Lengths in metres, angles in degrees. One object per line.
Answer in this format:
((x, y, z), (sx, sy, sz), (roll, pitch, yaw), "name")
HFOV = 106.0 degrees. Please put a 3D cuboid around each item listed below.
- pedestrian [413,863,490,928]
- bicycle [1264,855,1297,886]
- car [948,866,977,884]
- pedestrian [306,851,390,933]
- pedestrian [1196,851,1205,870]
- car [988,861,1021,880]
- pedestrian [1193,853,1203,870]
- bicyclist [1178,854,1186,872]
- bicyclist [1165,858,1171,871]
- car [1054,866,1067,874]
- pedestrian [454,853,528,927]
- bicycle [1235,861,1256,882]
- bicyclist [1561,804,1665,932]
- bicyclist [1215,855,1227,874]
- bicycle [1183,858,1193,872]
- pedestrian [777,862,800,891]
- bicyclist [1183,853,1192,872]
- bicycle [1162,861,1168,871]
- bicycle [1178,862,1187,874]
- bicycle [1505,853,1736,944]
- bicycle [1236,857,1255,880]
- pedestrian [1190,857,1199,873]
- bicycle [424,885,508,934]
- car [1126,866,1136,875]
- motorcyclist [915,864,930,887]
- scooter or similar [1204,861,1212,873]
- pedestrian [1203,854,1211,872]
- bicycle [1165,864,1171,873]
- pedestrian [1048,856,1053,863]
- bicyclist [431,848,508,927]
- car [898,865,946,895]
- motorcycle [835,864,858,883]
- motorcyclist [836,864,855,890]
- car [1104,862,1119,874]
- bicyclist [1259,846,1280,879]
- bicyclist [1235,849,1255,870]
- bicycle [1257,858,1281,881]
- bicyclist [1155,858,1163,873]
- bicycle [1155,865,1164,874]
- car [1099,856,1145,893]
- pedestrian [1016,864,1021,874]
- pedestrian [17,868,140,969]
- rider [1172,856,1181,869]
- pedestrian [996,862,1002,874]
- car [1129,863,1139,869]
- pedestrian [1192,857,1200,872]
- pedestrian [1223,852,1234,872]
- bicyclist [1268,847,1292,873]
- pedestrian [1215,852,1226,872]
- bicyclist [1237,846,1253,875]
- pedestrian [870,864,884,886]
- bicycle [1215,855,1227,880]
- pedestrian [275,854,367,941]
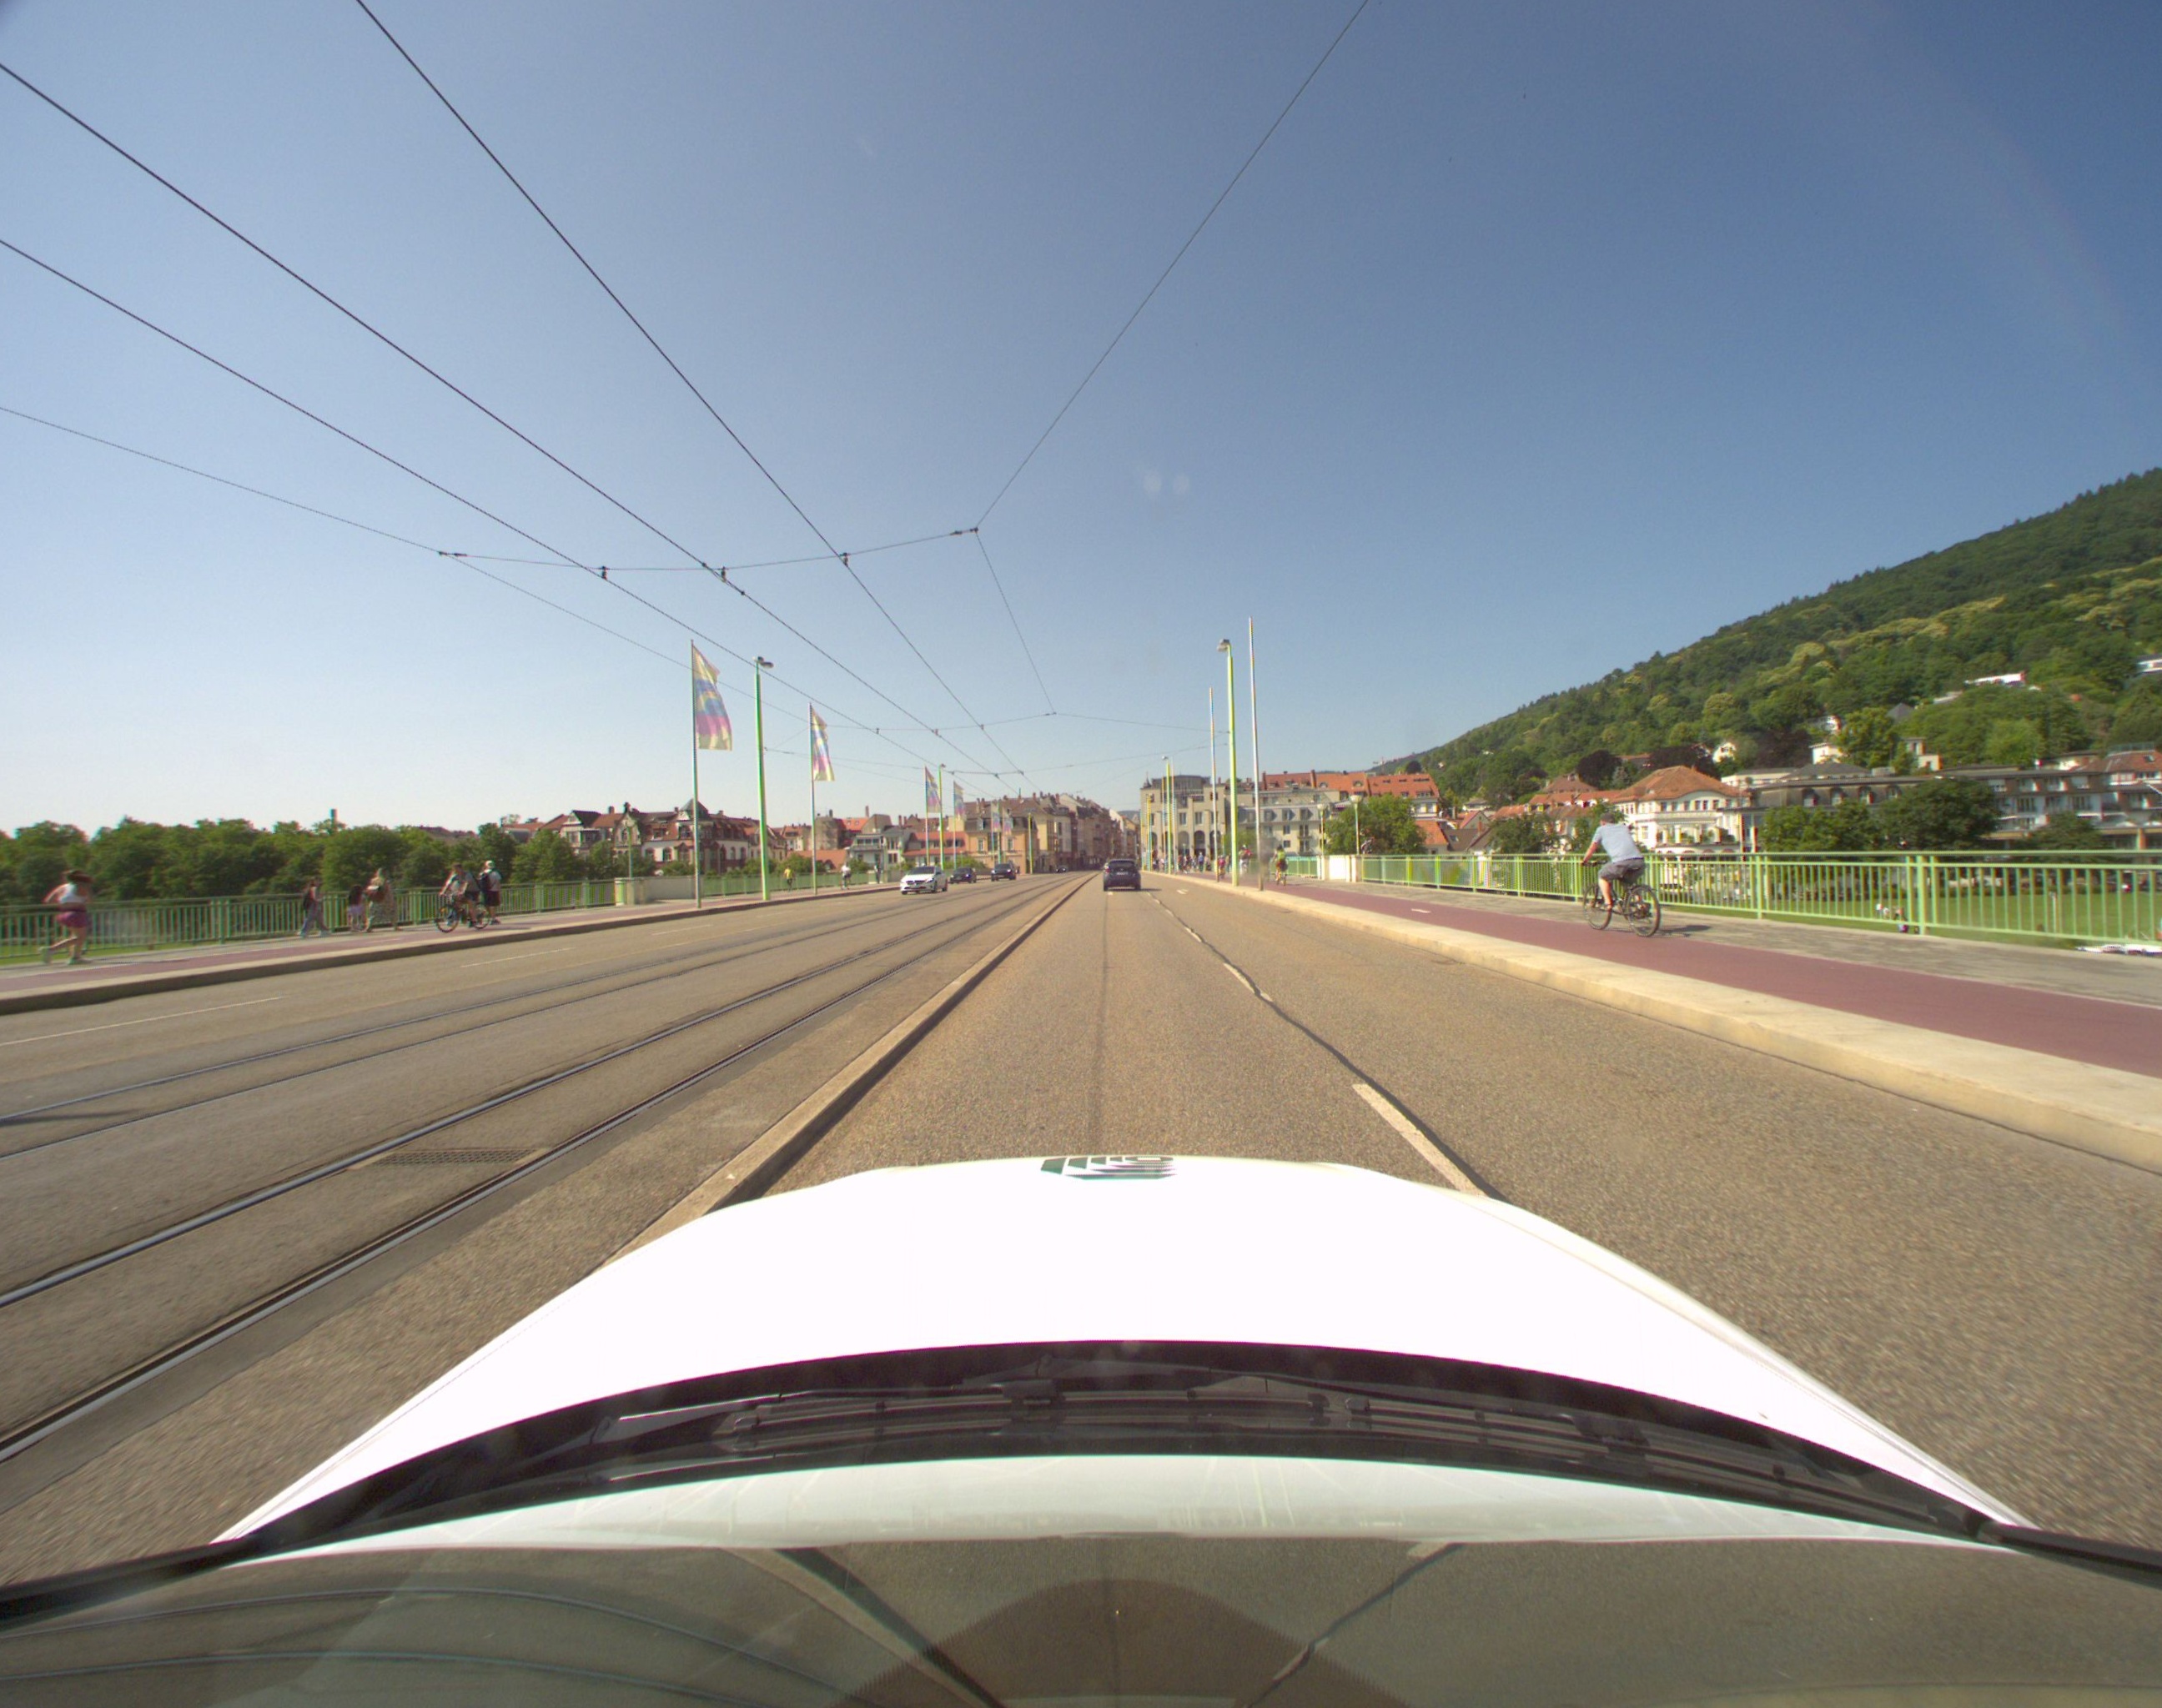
((-17.767, 1.156, 23.026), (1.094, 1.729, 1.295), (-2, 0, -1), "pedestrian")
((8.102, 0.653, 33.131), (0.693, 1.193, 2.077), (-2, -1, -2), "bicycle")
((-10.190, 1.798, 70.445), (1.752, 1.362, 4.384), (-2, 0, 1), "car")
((-18.865, 0.959, 20.992), (1.094, 2.013, 1.129), (-2, 0, -1), "pedestrian")
((11.360, 0.594, 77.424), (0.710, 1.810, 0.848), (-2, -1, 2), "pedestrian")
((-7.043, 1.480, 75.264), (1.982, 1.599, 4.349), (-2, 0, 9), "car")
((12.748, 0.833, 88.412), (0.926, 1.761, 0.938), (-2, -1, 1), "pedestrian")
((9.533, 0.830, 77.093), (0.625, 1.689, 0.869), (-2, -1, 0), "bicyclist")
((10.614, 1.260, 99.625), (0.648, 1.530, 0.976), (-2, 0, 5), "bicyclist")
((-3.900, 3.013, 156.917), (1.983, 1.479, 4.007), (-2, 0, 6), "car")
((-16.790, 0.984, 23.224), (1.094, 2.013, 1.295), (-2, 0, -1), "pedestrian")
((8.238, 0.859, 40.940), (0.616, 1.037, 2.051), (-2, 0, 0), "bicycle")
((7.716, 0.194, 11.871), (0.671, 1.744, 1.149), (-2, 0, -2), "bicyclist")
((8.067, 0.613, 47.006), (0.595, 1.101, 0.855), (-2, 0, 12), "bicyclist")
((9.458, 0.985, 72.140), (0.591, 1.178, 1.939), (-2, 0, 1), "bicycle")
((-17.514, 1.348, 48.806), (0.895, 1.658, 1.030), (-1, -1, 4), "pedestrian")
((9.444, 0.719, 72.099), (0.654, 1.676, 0.869), (-2, -1, 1), "bicyclist")
((10.789, 1.536, 104.998), (0.663, 1.178, 2.032), (-2, 0, 5), "bicycle")
((9.631, 1.318, 77.296), (0.524, 1.178, 2.029), (-2, 0, 1), "bicycle")
((7.731, 0.553, 12.065), (0.790, 1.096, 3.741), (-2, 0, -2), "bicycle")
((9.351, 0.832, 46.357), (0.616, 1.271, 2.216), (-2, 0, 0), "bicycle")
((12.363, 1.150, 88.612), (0.831, 1.689, 0.869), (-2, -1, 1), "pedestrian")
((-15.960, 1.415, 21.206), (0.587, 1.096, 2.112), (-2, 0, 0), "bicycle")
((9.205, 2.978, 150.163), (1.796, 1.469, 4.004), (-3, -1, 4), "car")
((-11.399, 1.533, 58.508), (0.824, 1.574, 0.832), (-2, -1, 1), "motorcyclist")
((12.199, 1.251, 78.058), (0.586, 1.069, 0.865), (-2, 0, 0), "scooter or similar")
((12.201, 0.897, 78.944), (0.639, 1.757, 0.866), (-2, -1, 0), "pedestrian")
((10.640, 1.746, 99.749), (0.663, 1.049, 2.032), (-2, 0, 5), "bicycle")
((-6.368, 1.171, 169.572), (0.759, 1.398, 0.664), (-2, 0, 4), "pedestrian")
((-15.951, 0.851, 21.273), (1.094, 1.961, 1.129), (-2, 0, -1), "bicyclist")
((-8.359, 1.314, 43.186), (1.990, 1.409, 4.539), (-2, 0, -5), "car")
((-14.758, 1.208, 51.314), (0.698, 1.110, 2.179), (-2, 0, 1), "motorcycle")
((-14.827, 1.438, 51.249), (0.797, 1.549, 1.069), (-2, 0, 1), "motorcyclist")
((4.280, 1.924, 113.935), (1.798, 1.469, 3.998), (-3, -1, -1), "car")
((8.951, 0.405, 38.798), (0.733, 1.500, 0.980), (-2, 0, 0), "bicyclist")
((8.232, 0.276, 40.954), (0.733, 1.030, 1.175), (-2, 0, 0), "bicyclist")
((8.935, 0.724, 38.778), (0.616, 1.037, 2.266), (-2, 0, 0), "bicycle")
((8.811, 1.308, 91.884), (0.651, 1.567, 1.337), (-3, -1, 0), "bicyclist")
((8.841, 1.704, 91.813), (0.651, 0.981, 2.177), (-3, -1, 0), "bicycle")
((1.892, 0.916, 38.613), (1.904, 1.540, 3.999), (-3, 0, -1), "car")
((-10.618, 2.625, 138.940), (0.759, 1.665, 0.664), (-2, -1, 4), "pedestrian")
((-17.928, 1.118, 14.601), (0.752, 1.722, 1.175), (-1, -1, -1), "pedestrian")
((11.059, 1.009, 94.037), (0.886, 1.504, 0.841), (-2, -1, 0), "rider")
((-12.725, 2.209, 126.466), (0.759, 1.787, 0.664), (-2, -1, 4), "pedestrian")
((12.314, 2.774, 189.196), (1.868, 1.409, 4.008), (-2, 0, 7), "car")
((11.036, 0.995, 78.148), (0.611, 1.465, 0.848), (-2, -1, 2), "pedestrian")
((11.407, 0.618, 62.992), (0.597, 1.586, 0.866), (-2, -1, 0), "pedestrian")
((8.103, 0.250, 33.204), (0.665, 1.045, 0.979), (-2, 0, -2), "bicyclist")
((10.795, 0.617, 62.994), (0.597, 1.586, 0.866), (-2, -1, 0), "pedestrian")
((9.347, 0.378, 46.436), (0.733, 1.635, 0.867), (-2, -1, 0), "bicyclist")
((-16.741, 1.708, 66.938), (0.827, 1.722, 1.094), (-2, 0, 2), "pedestrian")
((8.078, 0.768, 46.921), (0.531, 1.367, 2.223), (-2, 0, 12), "bicycle")
((-18.515, 1.032, 19.874), (1.094, 2.013, 1.129), (-2, 0, -1), "pedestrian")
